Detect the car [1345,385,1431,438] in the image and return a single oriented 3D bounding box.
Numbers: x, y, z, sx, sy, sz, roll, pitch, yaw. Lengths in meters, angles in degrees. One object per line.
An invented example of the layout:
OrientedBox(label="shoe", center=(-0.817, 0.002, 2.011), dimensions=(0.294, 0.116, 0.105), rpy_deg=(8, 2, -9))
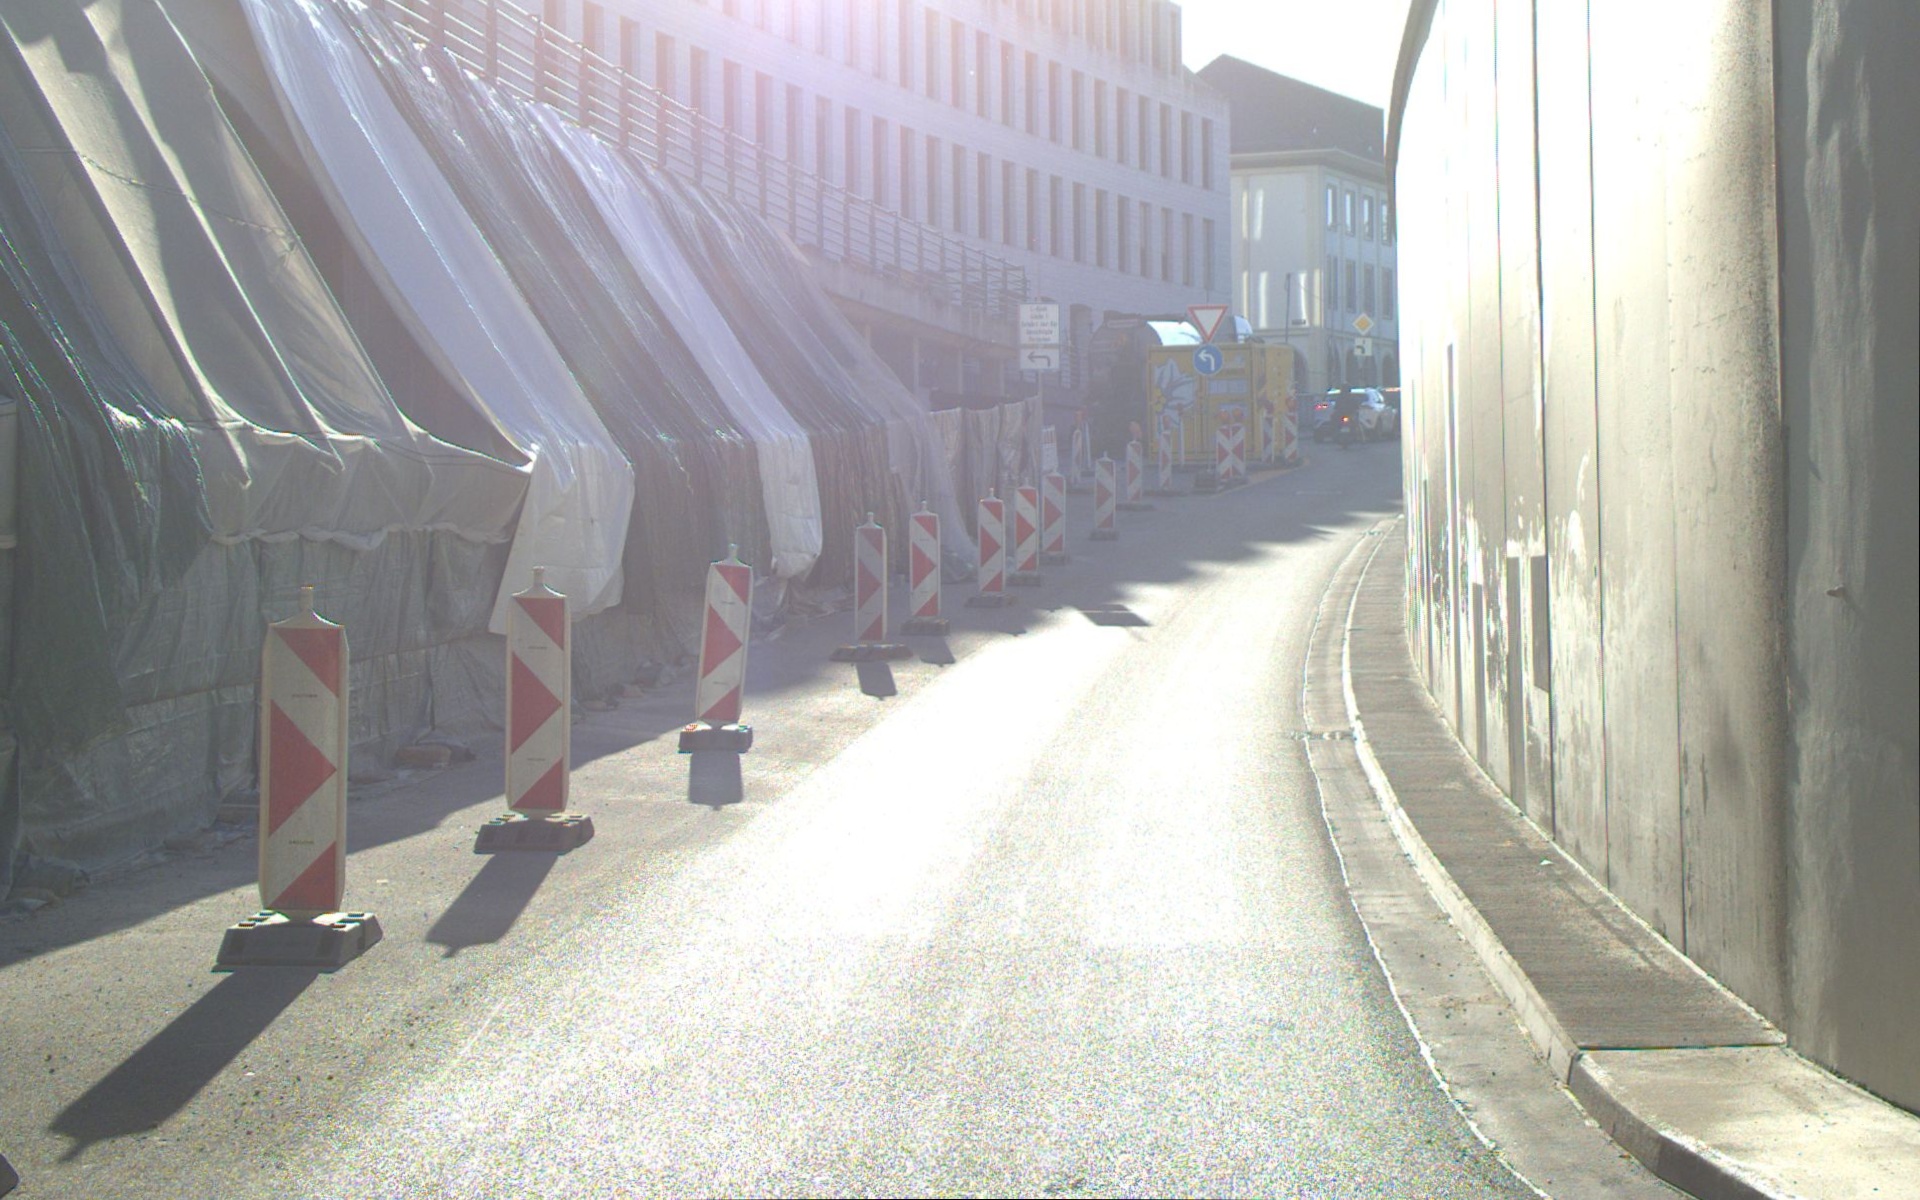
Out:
OrientedBox(label="car", center=(12.692, -5.580, 101.864), dimensions=(1.822, 1.528, 3.997), rpy_deg=(1, 3, 17))

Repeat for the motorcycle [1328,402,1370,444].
OrientedBox(label="motorcycle", center=(10.059, -4.575, 88.920), dimensions=(0.772, 0.989, 2.182), rpy_deg=(0, 0, 15))

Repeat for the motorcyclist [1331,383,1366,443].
OrientedBox(label="motorcyclist", center=(10.046, -4.831, 88.840), dimensions=(0.804, 1.499, 0.776), rpy_deg=(0, 0, 15))

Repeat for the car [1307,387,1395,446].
OrientedBox(label="car", center=(10.915, -5.121, 95.761), dimensions=(1.777, 1.598, 3.998), rpy_deg=(1, 3, 16))
